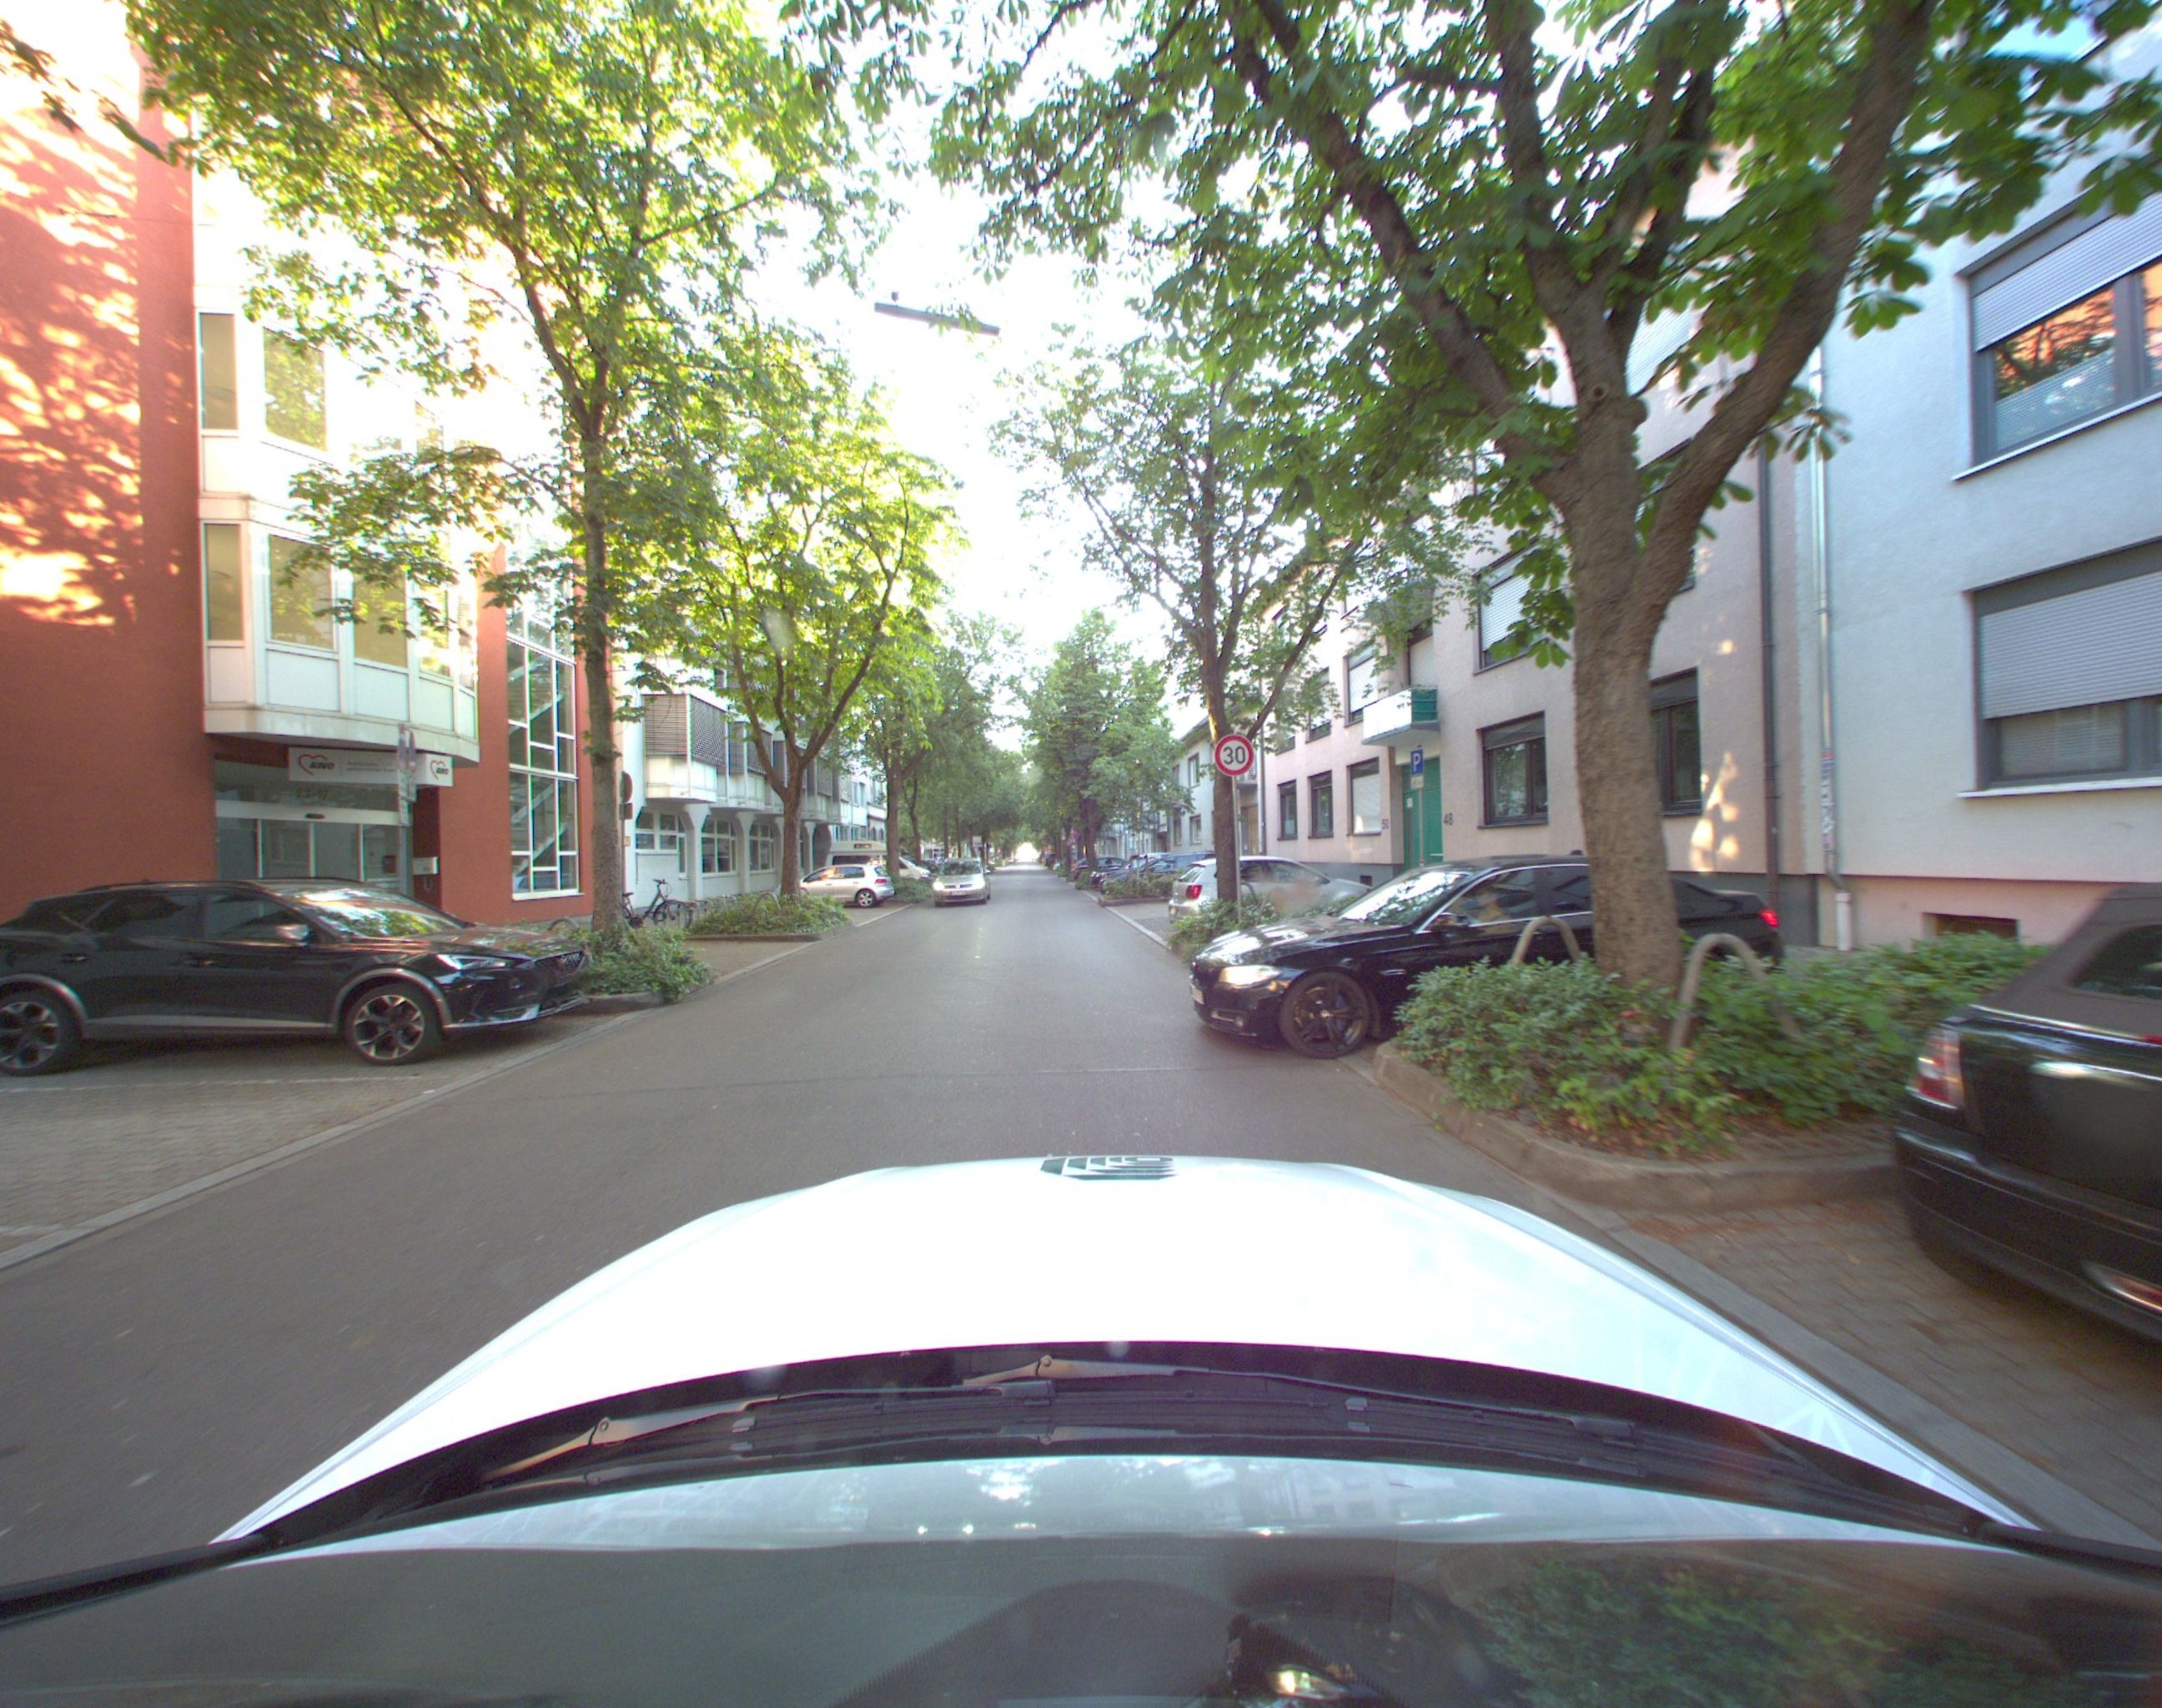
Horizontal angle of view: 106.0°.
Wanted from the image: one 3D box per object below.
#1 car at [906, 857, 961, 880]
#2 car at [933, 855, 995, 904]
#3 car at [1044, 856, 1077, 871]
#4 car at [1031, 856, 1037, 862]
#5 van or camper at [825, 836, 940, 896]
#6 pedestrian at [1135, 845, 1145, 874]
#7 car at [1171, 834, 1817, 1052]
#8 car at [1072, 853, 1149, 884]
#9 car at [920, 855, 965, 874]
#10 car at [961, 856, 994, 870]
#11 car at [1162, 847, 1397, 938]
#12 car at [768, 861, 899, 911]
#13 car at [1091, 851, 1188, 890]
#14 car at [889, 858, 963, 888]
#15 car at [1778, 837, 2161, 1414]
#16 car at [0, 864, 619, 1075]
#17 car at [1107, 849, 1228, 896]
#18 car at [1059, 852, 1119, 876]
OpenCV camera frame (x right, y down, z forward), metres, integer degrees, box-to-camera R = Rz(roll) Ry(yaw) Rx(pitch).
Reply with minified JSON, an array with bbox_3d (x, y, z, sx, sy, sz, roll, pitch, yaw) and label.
[{"bbox_3d":[-11.607,1.127,64.199,3.958,1.619,1.783,-2,0,-3],"label":"car"},{"bbox_3d":[-4.079,0.840,28.972,1.775,1.562,4.163,-2,0,-3],"label":"car"},{"bbox_3d":[-2.482,1.132,100.180,3.958,1.684,1.783,-2,0,-3],"label":"car"},{"bbox_3d":[-13.000,1.361,225.329,1.818,1.531,3.996,-1,0,-3],"label":"car"},{"bbox_3d":[-8.851,0.514,36.607,4.655,2.478,1.997,-2,0,-4],"label":"van or camper"},{"bbox_3d":[4.249,0.382,58.640,0.587,2.013,0.669,-2,0,-3],"label":"pedestrian"},{"bbox_3d":[3.286,0.651,7.048,4.736,1.480,1.798,-2,0,-4],"label":"car"},{"bbox_3d":[1.553,0.762,44.142,3.961,1.527,1.782,-2,0,-5],"label":"car"},{"bbox_3d":[-12.868,0.940,75.866,3.958,1.619,1.783,-2,0,-3],"label":"car"},{"bbox_3d":[-12.913,1.148,101.797,3.958,1.619,1.783,-2,0,-3],"label":"car"},{"bbox_3d":[3.596,0.665,15.141,3.903,1.476,1.661,-2,0,-6],"label":"car"},{"bbox_3d":[-8.510,1.075,28.266,3.959,1.517,1.783,-2,0,-3],"label":"car"},{"bbox_3d":[2.499,0.676,35.285,3.961,1.527,1.782,-2,0,-5],"label":"car"},{"bbox_3d":[-9.013,1.083,47.615,3.959,1.619,1.783,-2,0,-3],"label":"car"},{"bbox_3d":[4.353,0.610,2.278,3.607,1.363,1.660,-2,0,-8],"label":"car"},{"bbox_3d":[-6.949,0.931,7.428,4.346,1.517,1.782,-2,0,-4],"label":"car"},{"bbox_3d":[2.992,0.636,28.778,3.962,1.476,1.781,-2,0,-6],"label":"car"},{"bbox_3d":[0.511,0.691,56.063,3.962,1.527,1.782,-2,0,-6],"label":"car"}]
